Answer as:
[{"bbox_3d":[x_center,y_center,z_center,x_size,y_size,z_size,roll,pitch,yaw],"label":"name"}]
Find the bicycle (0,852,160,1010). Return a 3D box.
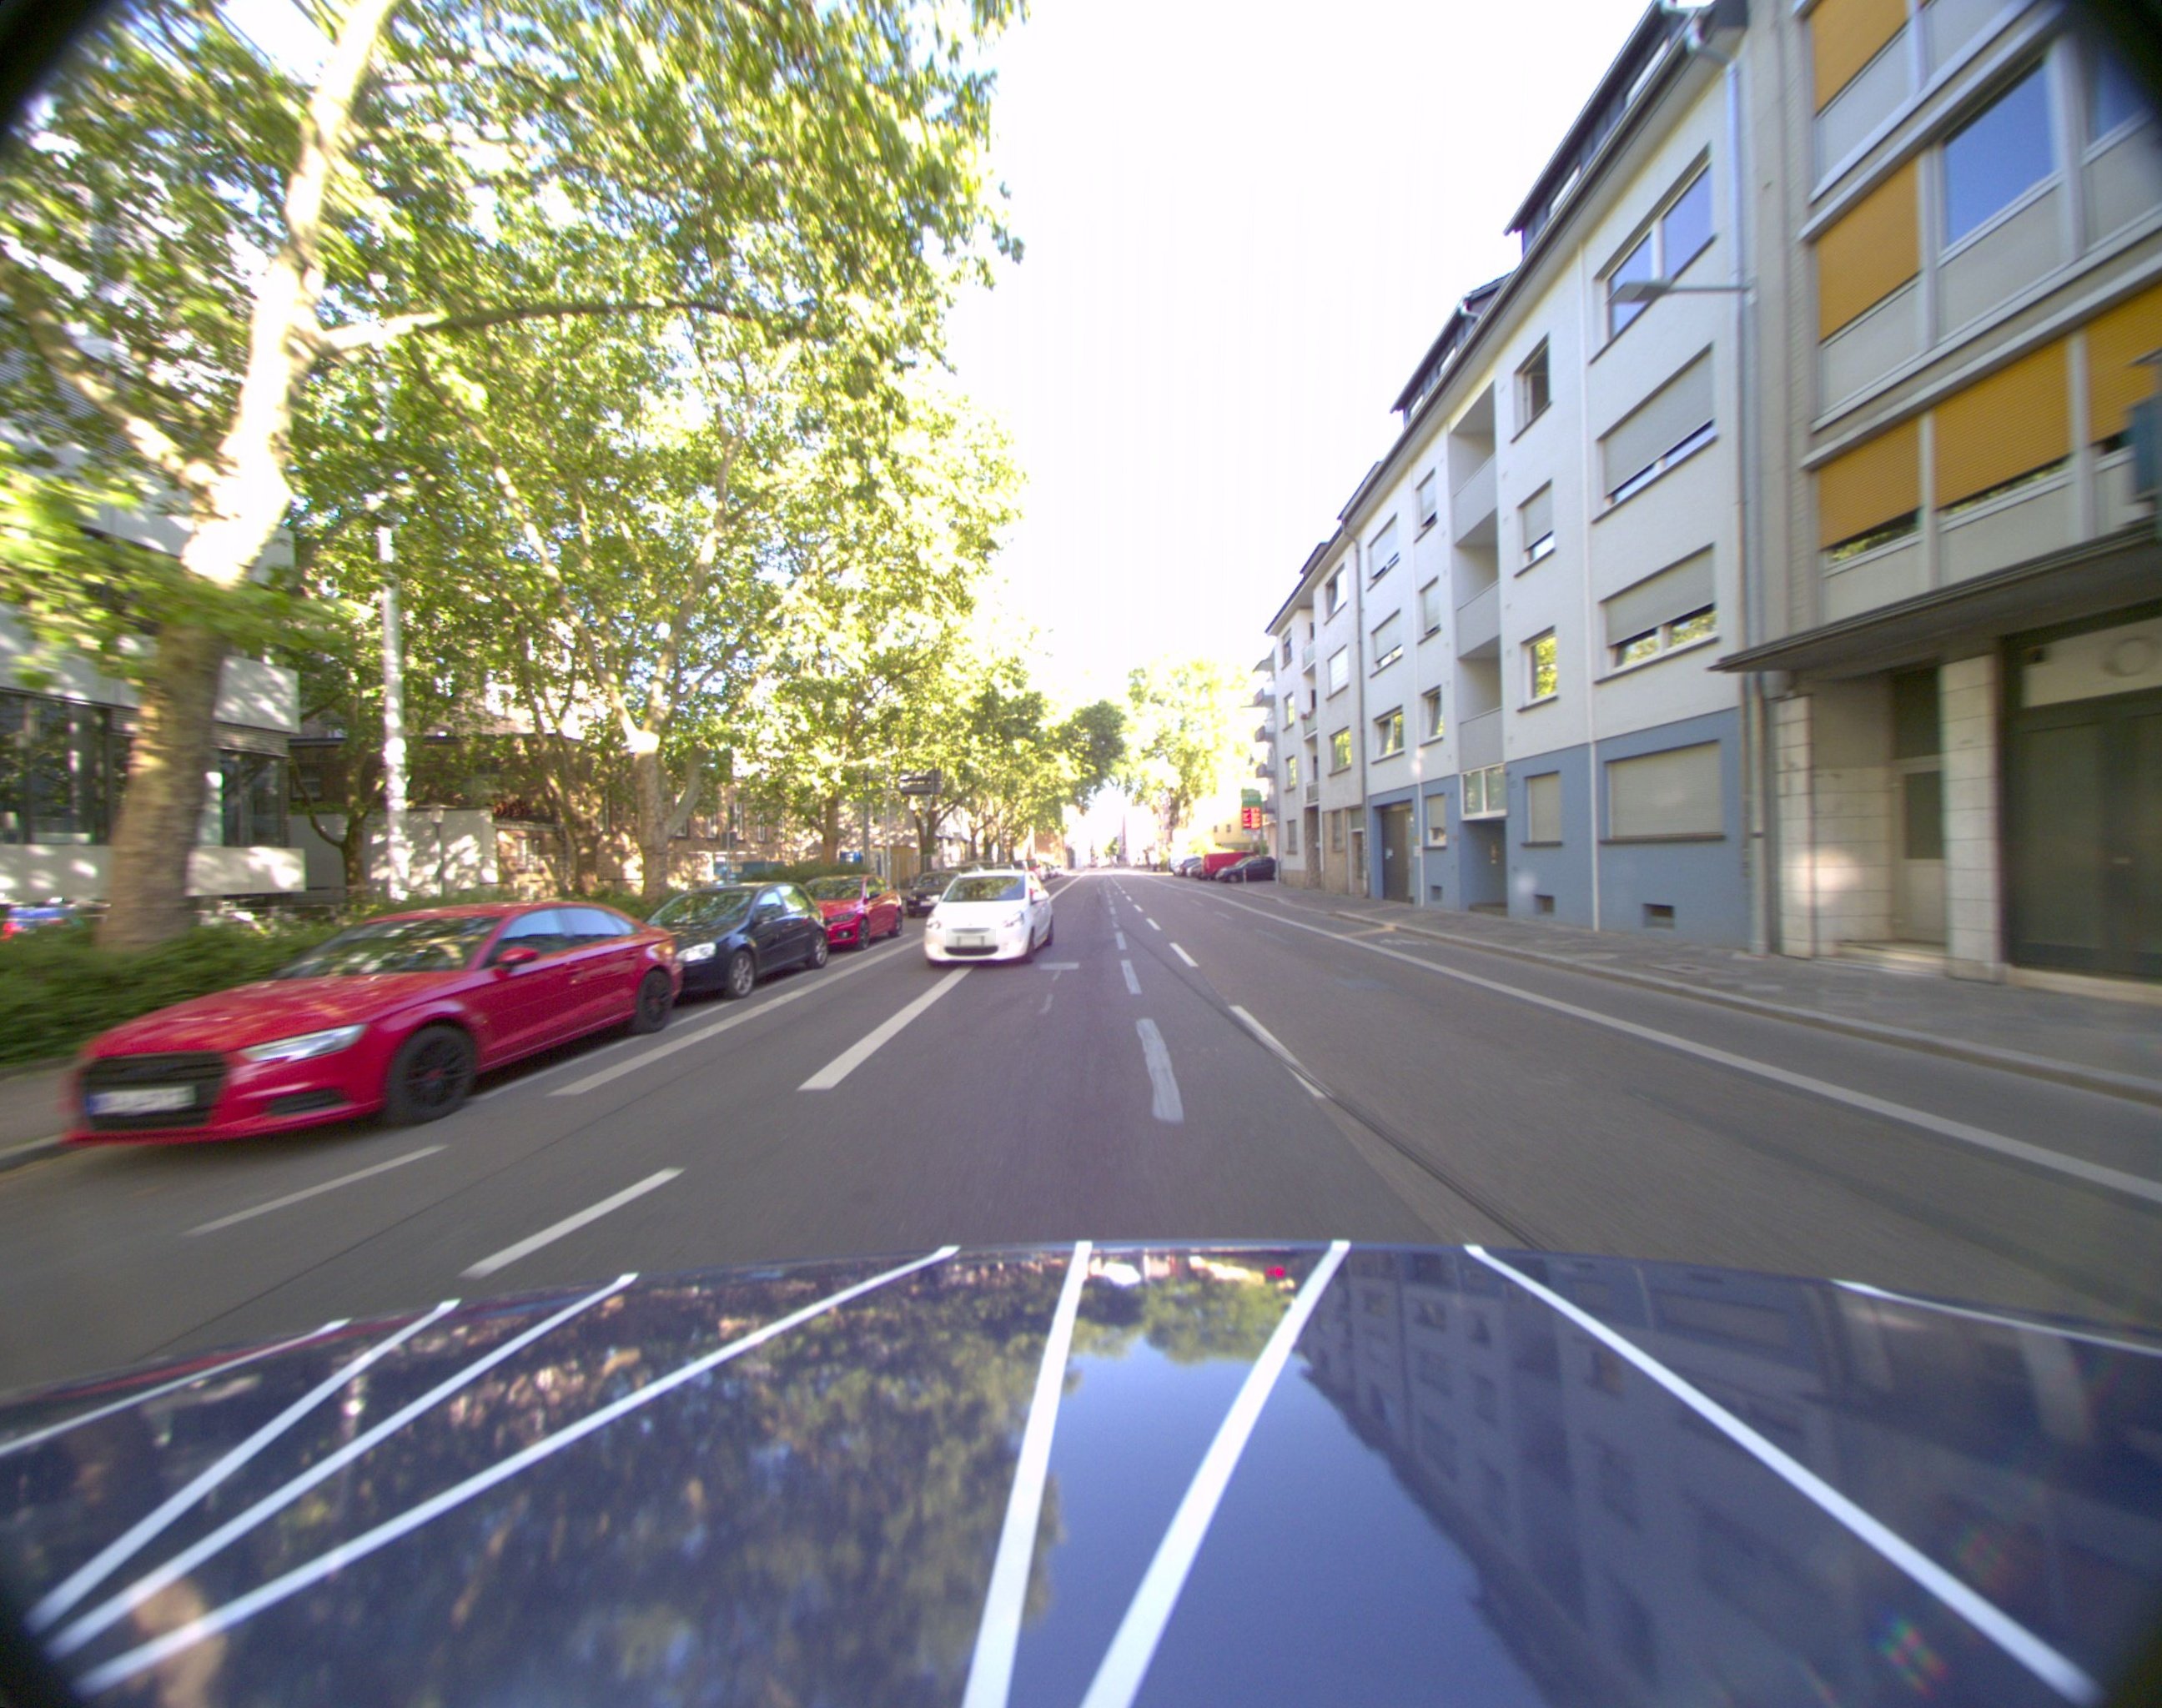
[{"bbox_3d":[-14.042,1.008,10.140,2.604,2.002,0.742,-1,0,1],"label":"bicycle"}]

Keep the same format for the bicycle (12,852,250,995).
[{"bbox_3d":[-14.087,1.006,11.308,2.604,2.002,0.742,-1,0,1],"label":"bicycle"}]

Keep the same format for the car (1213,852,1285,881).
[{"bbox_3d":[10.893,0.782,49.534,4.183,1.554,1.887,-4,0,2],"label":"car"}]

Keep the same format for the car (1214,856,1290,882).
[{"bbox_3d":[10.574,0.914,47.249,4.239,1.372,2.046,-3,0,2],"label":"car"}]

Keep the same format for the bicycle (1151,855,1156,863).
[{"bbox_3d":[11.809,0.839,124.020,0.608,1.232,2.050,0,-1,1],"label":"bicycle"}]

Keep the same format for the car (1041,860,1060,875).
[{"bbox_3d":[-3.414,1.524,84.952,1.860,1.513,4.297,-3,0,1],"label":"car"}]

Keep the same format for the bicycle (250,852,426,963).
[{"bbox_3d":[-14.045,0.991,14.406,2.604,2.002,0.742,-1,0,1],"label":"bicycle"}]

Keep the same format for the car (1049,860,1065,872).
[{"bbox_3d":[-3.005,1.467,95.541,1.860,1.428,4.969,-2,0,-2],"label":"car"}]

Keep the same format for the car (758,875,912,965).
[{"bbox_3d":[-5.025,1.278,16.211,1.697,1.470,4.319,-4,0,1],"label":"car"}]

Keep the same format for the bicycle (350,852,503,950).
[{"bbox_3d":[-14.017,0.981,16.313,2.604,2.002,0.742,-1,0,1],"label":"bicycle"}]

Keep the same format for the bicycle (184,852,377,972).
[{"bbox_3d":[-14.067,0.996,13.389,2.604,2.002,0.742,-1,0,1],"label":"bicycle"}]

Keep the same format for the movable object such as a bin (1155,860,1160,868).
[{"bbox_3d":[10.846,1.394,107.772,0.595,1.065,0.645,-1,0,2],"label":"movable object such as a bin"}]

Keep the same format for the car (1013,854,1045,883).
[{"bbox_3d":[-3.970,1.093,59.197,2.083,1.982,5.171,-3,0,-1],"label":"car"}]

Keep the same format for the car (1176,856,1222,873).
[{"bbox_3d":[10.982,0.988,71.066,3.997,1.424,1.853,-3,0,1],"label":"car"}]

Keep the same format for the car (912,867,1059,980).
[{"bbox_3d":[-1.461,1.064,12.983,1.682,1.490,3.686,-3,0,5],"label":"car"}]

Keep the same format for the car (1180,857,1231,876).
[{"bbox_3d":[10.684,1.039,65.384,3.997,1.447,1.916,-3,0,1],"label":"car"}]

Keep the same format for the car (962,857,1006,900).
[{"bbox_3d":[-4.627,1.125,36.525,1.830,1.830,4.897,-4,0,-7],"label":"car"}]

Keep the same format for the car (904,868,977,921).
[{"bbox_3d":[-4.654,1.290,25.713,1.697,1.494,4.020,-4,0,-1],"label":"car"}]

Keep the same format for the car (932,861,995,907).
[{"bbox_3d":[-4.724,1.181,31.263,1.780,1.618,4.620,-4,0,0],"label":"car"}]

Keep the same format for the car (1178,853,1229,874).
[{"bbox_3d":[11.024,0.880,68.532,4.204,1.674,2.028,-3,0,1],"label":"car"}]

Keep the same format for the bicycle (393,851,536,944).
[{"bbox_3d":[-13.963,0.974,17.242,2.604,2.002,0.742,-1,0,1],"label":"bicycle"}]

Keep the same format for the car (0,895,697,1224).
[{"bbox_3d":[-5.169,1.227,6.285,1.697,1.441,4.436,-4,0,-1],"label":"car"}]

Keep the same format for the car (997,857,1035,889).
[{"bbox_3d":[-4.038,1.181,47.852,1.697,1.802,4.131,-4,0,3],"label":"car"}]

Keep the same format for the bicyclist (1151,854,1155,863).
[{"bbox_3d":[11.802,0.722,124.255,0.608,1.535,0.934,0,0,1],"label":"bicyclist"}]

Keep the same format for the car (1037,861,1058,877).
[{"bbox_3d":[-3.444,1.519,78.808,1.860,1.513,4.599,-3,0,1],"label":"car"}]

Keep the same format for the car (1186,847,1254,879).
[{"bbox_3d":[10.054,0.655,55.230,4.533,1.940,2.057,-4,0,2],"label":"car"}]

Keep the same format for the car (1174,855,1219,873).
[{"bbox_3d":[11.062,0.977,73.191,3.997,1.550,1.853,-3,0,1],"label":"car"}]

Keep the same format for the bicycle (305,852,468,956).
[{"bbox_3d":[-14.045,0.986,15.414,2.604,2.002,0.742,-1,0,1],"label":"bicycle"}]

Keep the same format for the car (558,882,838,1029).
[{"bbox_3d":[-5.070,1.251,10.790,1.697,1.457,4.066,-4,0,2],"label":"car"}]

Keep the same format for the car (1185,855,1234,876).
[{"bbox_3d":[10.683,0.953,63.373,3.694,1.504,1.831,-4,0,1],"label":"car"}]

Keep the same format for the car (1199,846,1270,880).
[{"bbox_3d":[10.552,0.618,52.535,4.432,1.940,2.146,-4,0,2],"label":"car"}]

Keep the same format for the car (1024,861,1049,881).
[{"bbox_3d":[-3.718,1.398,63.972,1.641,1.476,3.760,-4,0,3],"label":"car"}]

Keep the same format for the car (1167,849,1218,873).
[{"bbox_3d":[11.354,0.693,77.783,4.856,2.203,2.140,-3,0,1],"label":"car"}]

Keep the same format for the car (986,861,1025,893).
[{"bbox_3d":[-4.247,1.246,43.319,1.697,1.618,4.329,-4,0,-1],"label":"car"}]
